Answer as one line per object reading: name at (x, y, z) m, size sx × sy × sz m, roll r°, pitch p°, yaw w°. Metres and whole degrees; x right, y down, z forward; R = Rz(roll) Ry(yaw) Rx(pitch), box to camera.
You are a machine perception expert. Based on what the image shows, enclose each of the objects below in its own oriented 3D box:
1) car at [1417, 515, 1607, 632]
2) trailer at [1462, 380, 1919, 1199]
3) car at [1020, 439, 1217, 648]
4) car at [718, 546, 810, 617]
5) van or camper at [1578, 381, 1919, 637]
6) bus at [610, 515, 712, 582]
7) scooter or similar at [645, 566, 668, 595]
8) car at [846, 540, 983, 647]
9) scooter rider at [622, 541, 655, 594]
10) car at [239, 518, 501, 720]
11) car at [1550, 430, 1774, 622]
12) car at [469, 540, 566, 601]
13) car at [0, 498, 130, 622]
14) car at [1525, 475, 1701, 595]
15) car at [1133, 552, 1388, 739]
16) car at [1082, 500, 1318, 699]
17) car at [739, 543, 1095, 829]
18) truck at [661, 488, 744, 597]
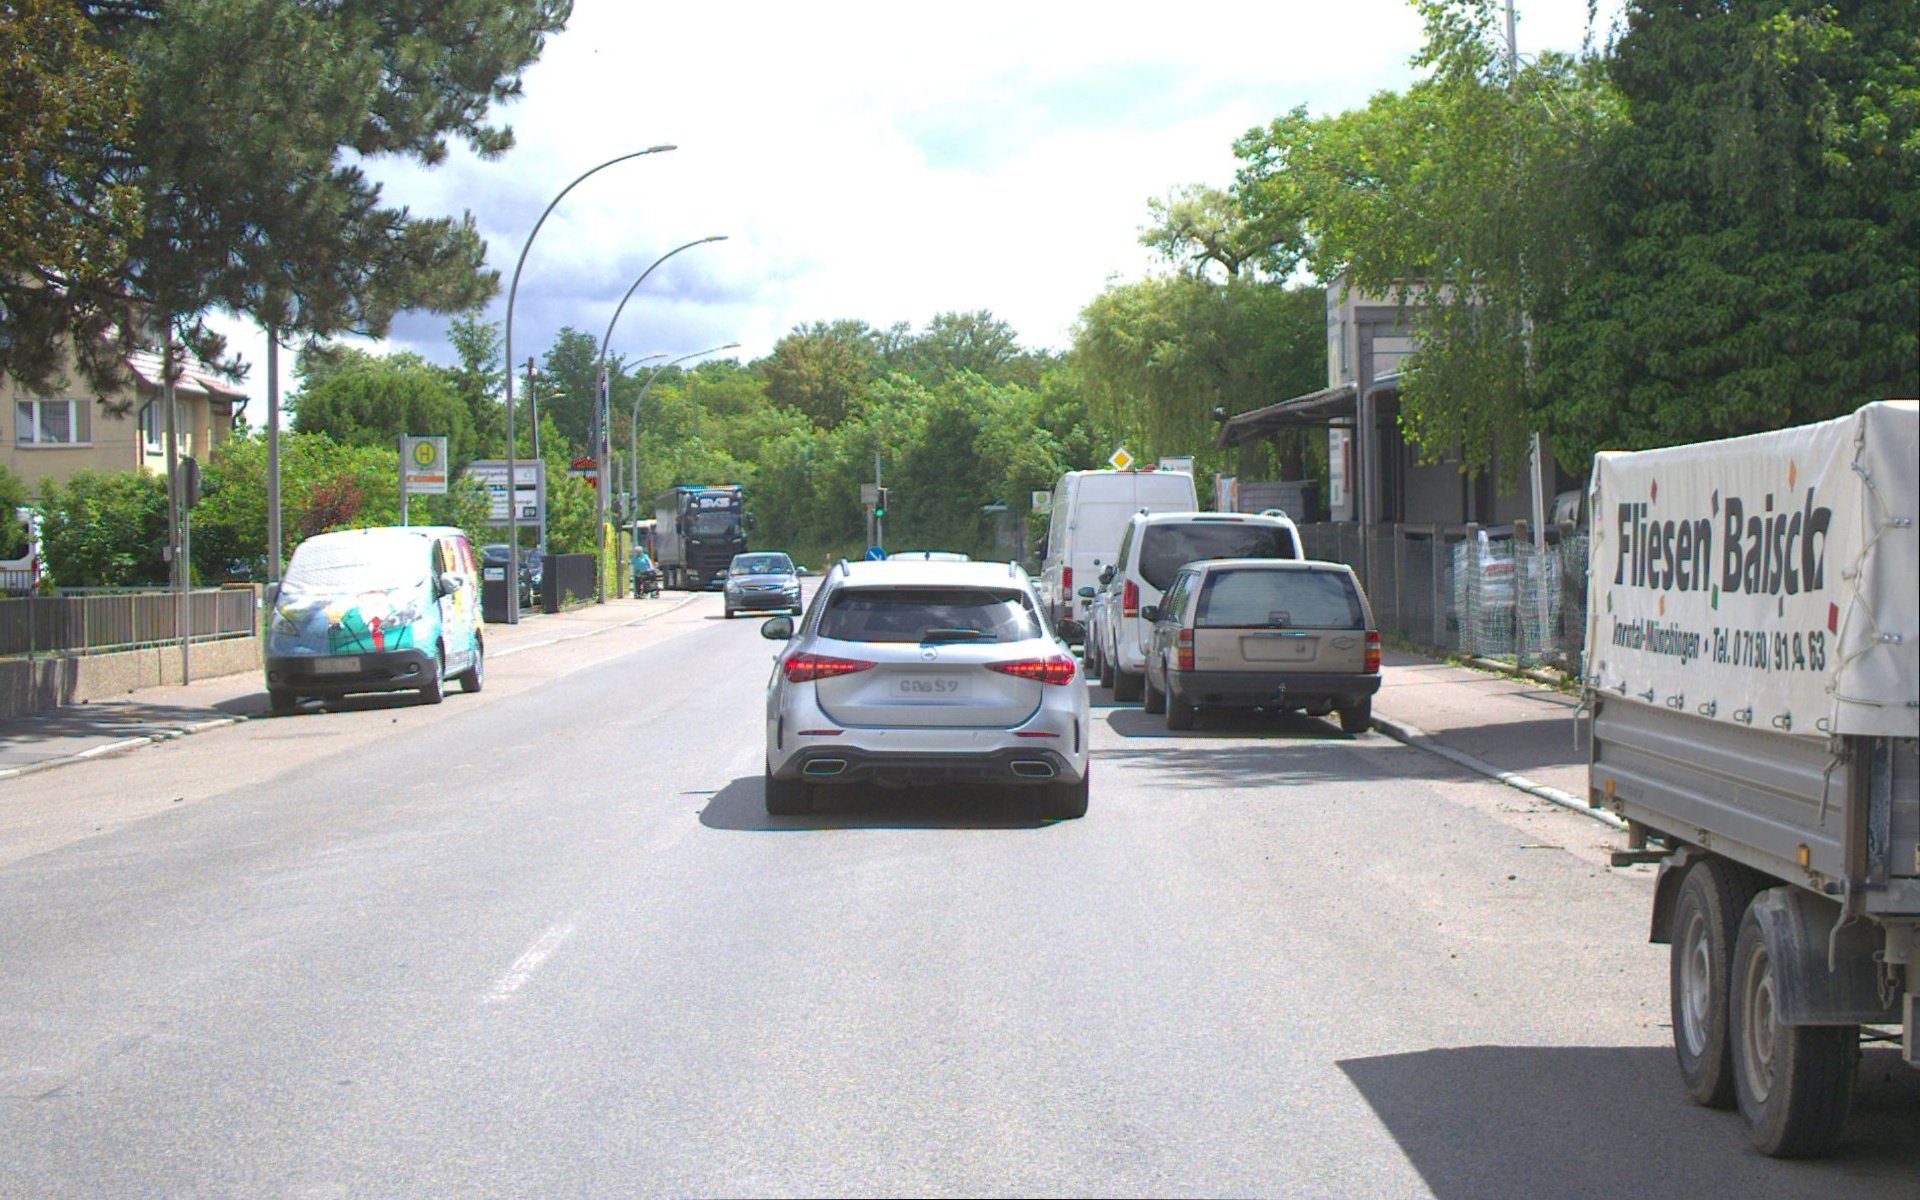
car at (7.527, -0.405, 47.318) m, size 1.764 × 1.484 × 4.927 m, roll -1°, pitch 2°, yaw 0°
trailer at (2.762, 0.423, 9.541) m, size 1.993 × 1.816 × 4.765 m, roll 1°, pitch 1°, yaw 0°
car at (2.148, -0.796, 48.490) m, size 2.215 × 2.680 × 6.658 m, roll -2°, pitch 1°, yaw -2°
car at (-4.460, -0.452, 78.677) m, size 1.900 × 1.512 × 4.319 m, roll -2°, pitch 1°, yaw -1°
van or camper at (10.301, -1.164, 45.199) m, size 2.881 × 3.050 × 6.914 m, roll -1°, pitch 1°, yaw -2°
bus at (-15.481, -2.612, 176.947) m, size 2.777 × 3.255 × 12.127 m, roll -2°, pitch 1°, yaw -16°
scooter or similar at (-9.014, -0.576, 102.202) m, size 0.611 × 0.829 × 0.659 m, roll 1°, pitch 1°, yaw 0°
car at (-0.712, -0.123, 51.122) m, size 1.884 × 1.503 × 4.001 m, roll -1°, pitch 1°, yaw -3°
scooter rider at (-9.578, -0.973, 102.508) m, size 0.878 × 1.584 × 0.796 m, roll -1°, pitch 1°, yaw 0°
car at (-6.175, 0.132, 36.541) m, size 1.833 × 1.847 × 4.896 m, roll -4°, pitch 2°, yaw 0°
car at (10.374, -1.149, 51.226) m, size 2.017 × 2.672 × 5.498 m, roll -1°, pitch 2°, yaw -2°
car at (-11.542, -0.780, 89.933) m, size 2.153 × 1.501 × 4.268 m, roll -1°, pitch 1°, yaw -3°
car at (-19.923, -0.834, 73.701) m, size 2.412 × 2.487 × 6.135 m, roll -3°, pitch 1°, yaw 3°
car at (10.976, -1.112, 58.083) m, size 1.993 × 1.903 × 4.853 m, roll -1°, pitch 2°, yaw 0°
car at (2.532, 0.328, 30.023) m, size 1.754 × 1.445 × 4.994 m, roll 1°, pitch 1°, yaw 0°
car at (2.398, -0.054, 35.665) m, size 1.905 × 1.879 × 5.390 m, roll 1°, pitch 1°, yaw -2°
car at (-0.222, 0.427, 20.327) m, size 1.885 × 1.503 × 4.000 m, roll -1°, pitch 1°, yaw 0°
truck at (-10.170, -2.224, 135.196) m, size 2.428 × 4.117 × 9.152 m, roll 1°, pitch 0°, yaw -9°
